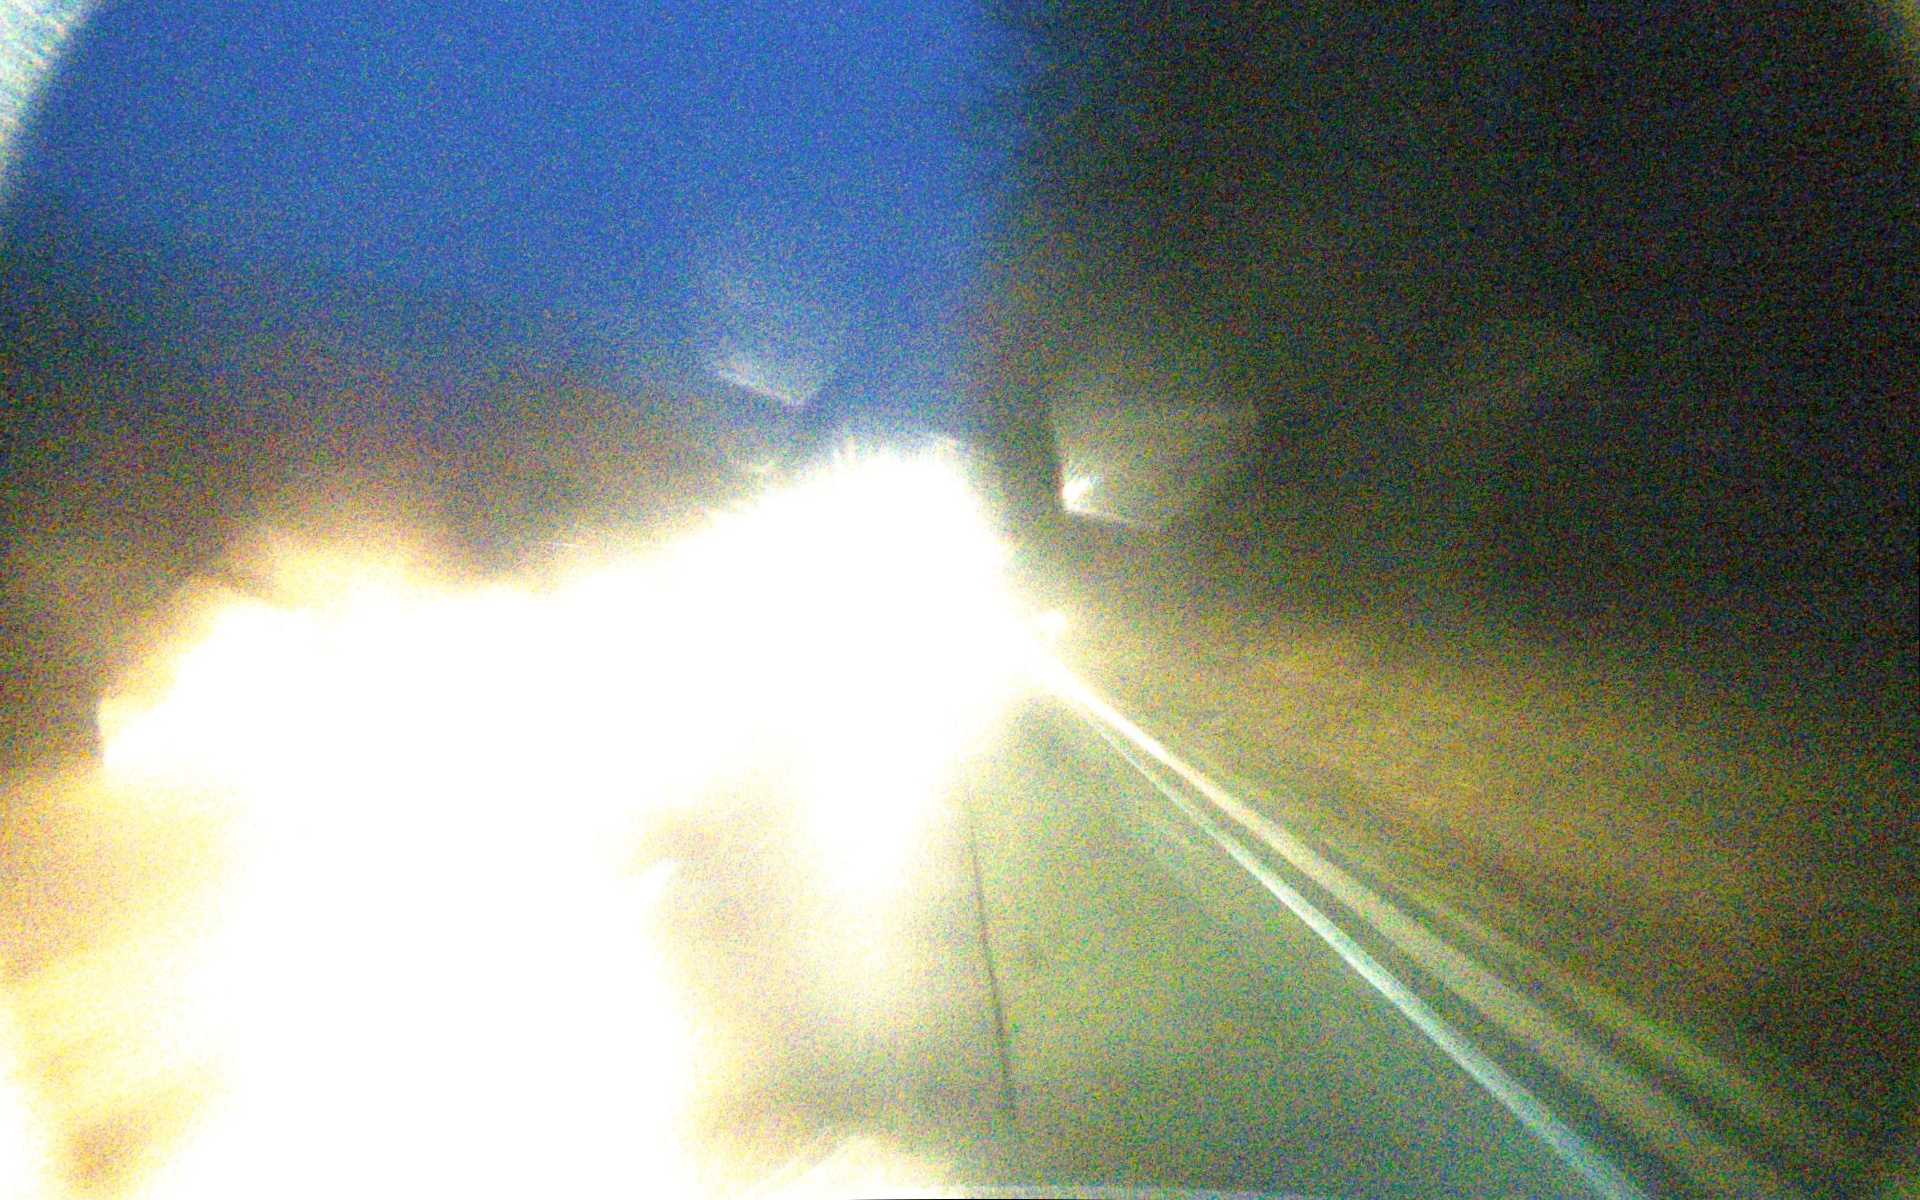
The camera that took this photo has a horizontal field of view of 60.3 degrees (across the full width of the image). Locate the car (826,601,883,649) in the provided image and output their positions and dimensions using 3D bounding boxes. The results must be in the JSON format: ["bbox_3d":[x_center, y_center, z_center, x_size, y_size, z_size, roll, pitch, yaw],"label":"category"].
[{"bbox_3d":[-3.718,0.864,58.707,1.791,1.481,3.793,-1,1,-1],"label":"car"}]

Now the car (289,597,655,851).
[{"bbox_3d":[-3.377,0.768,12.167,1.681,1.496,3.707,-1,1,-2],"label":"car"}]
